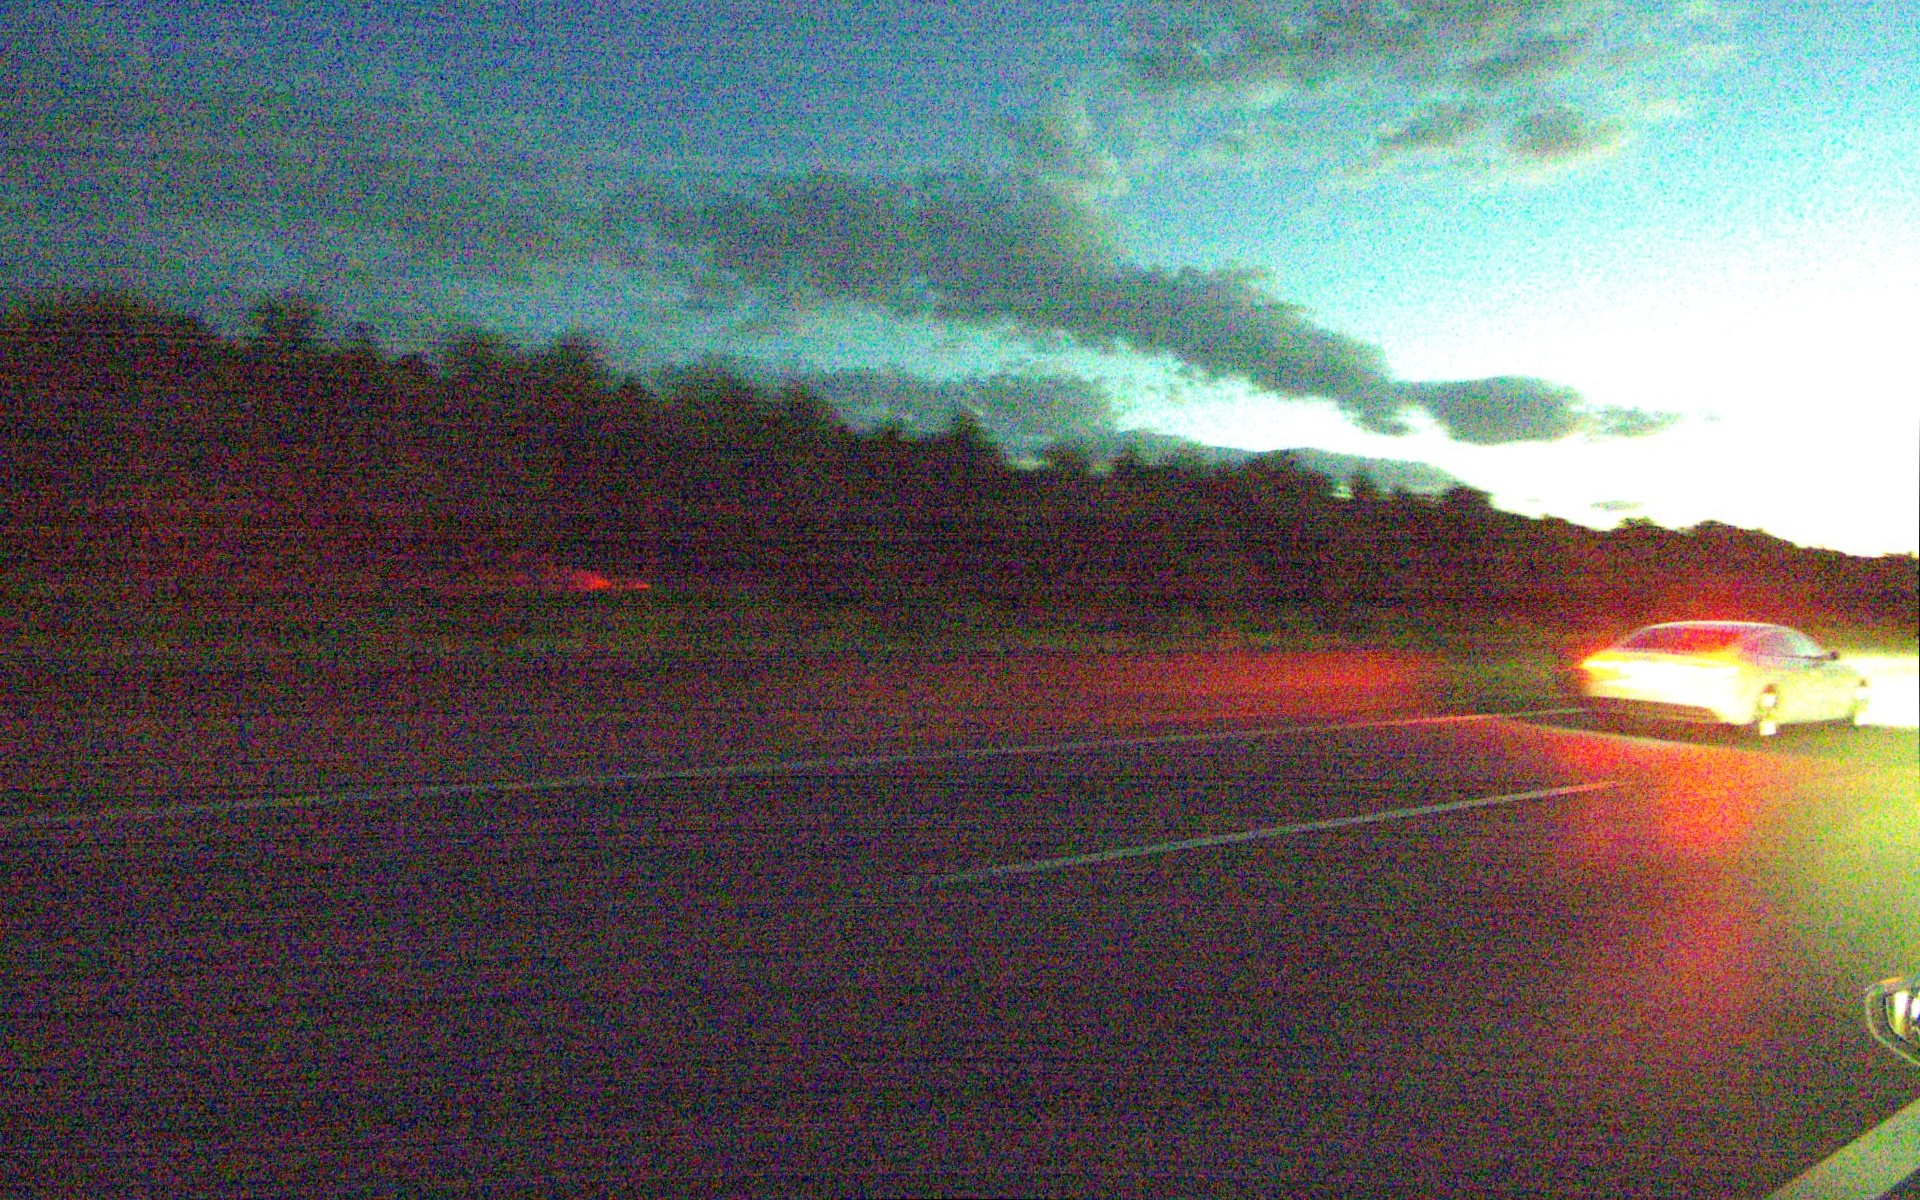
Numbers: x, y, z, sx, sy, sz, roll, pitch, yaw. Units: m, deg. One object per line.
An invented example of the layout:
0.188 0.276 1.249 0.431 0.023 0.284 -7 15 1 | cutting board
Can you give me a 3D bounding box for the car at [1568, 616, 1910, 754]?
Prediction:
10.390 1.007 13.275 5.192 1.506 1.771 1 0 -30 | car
